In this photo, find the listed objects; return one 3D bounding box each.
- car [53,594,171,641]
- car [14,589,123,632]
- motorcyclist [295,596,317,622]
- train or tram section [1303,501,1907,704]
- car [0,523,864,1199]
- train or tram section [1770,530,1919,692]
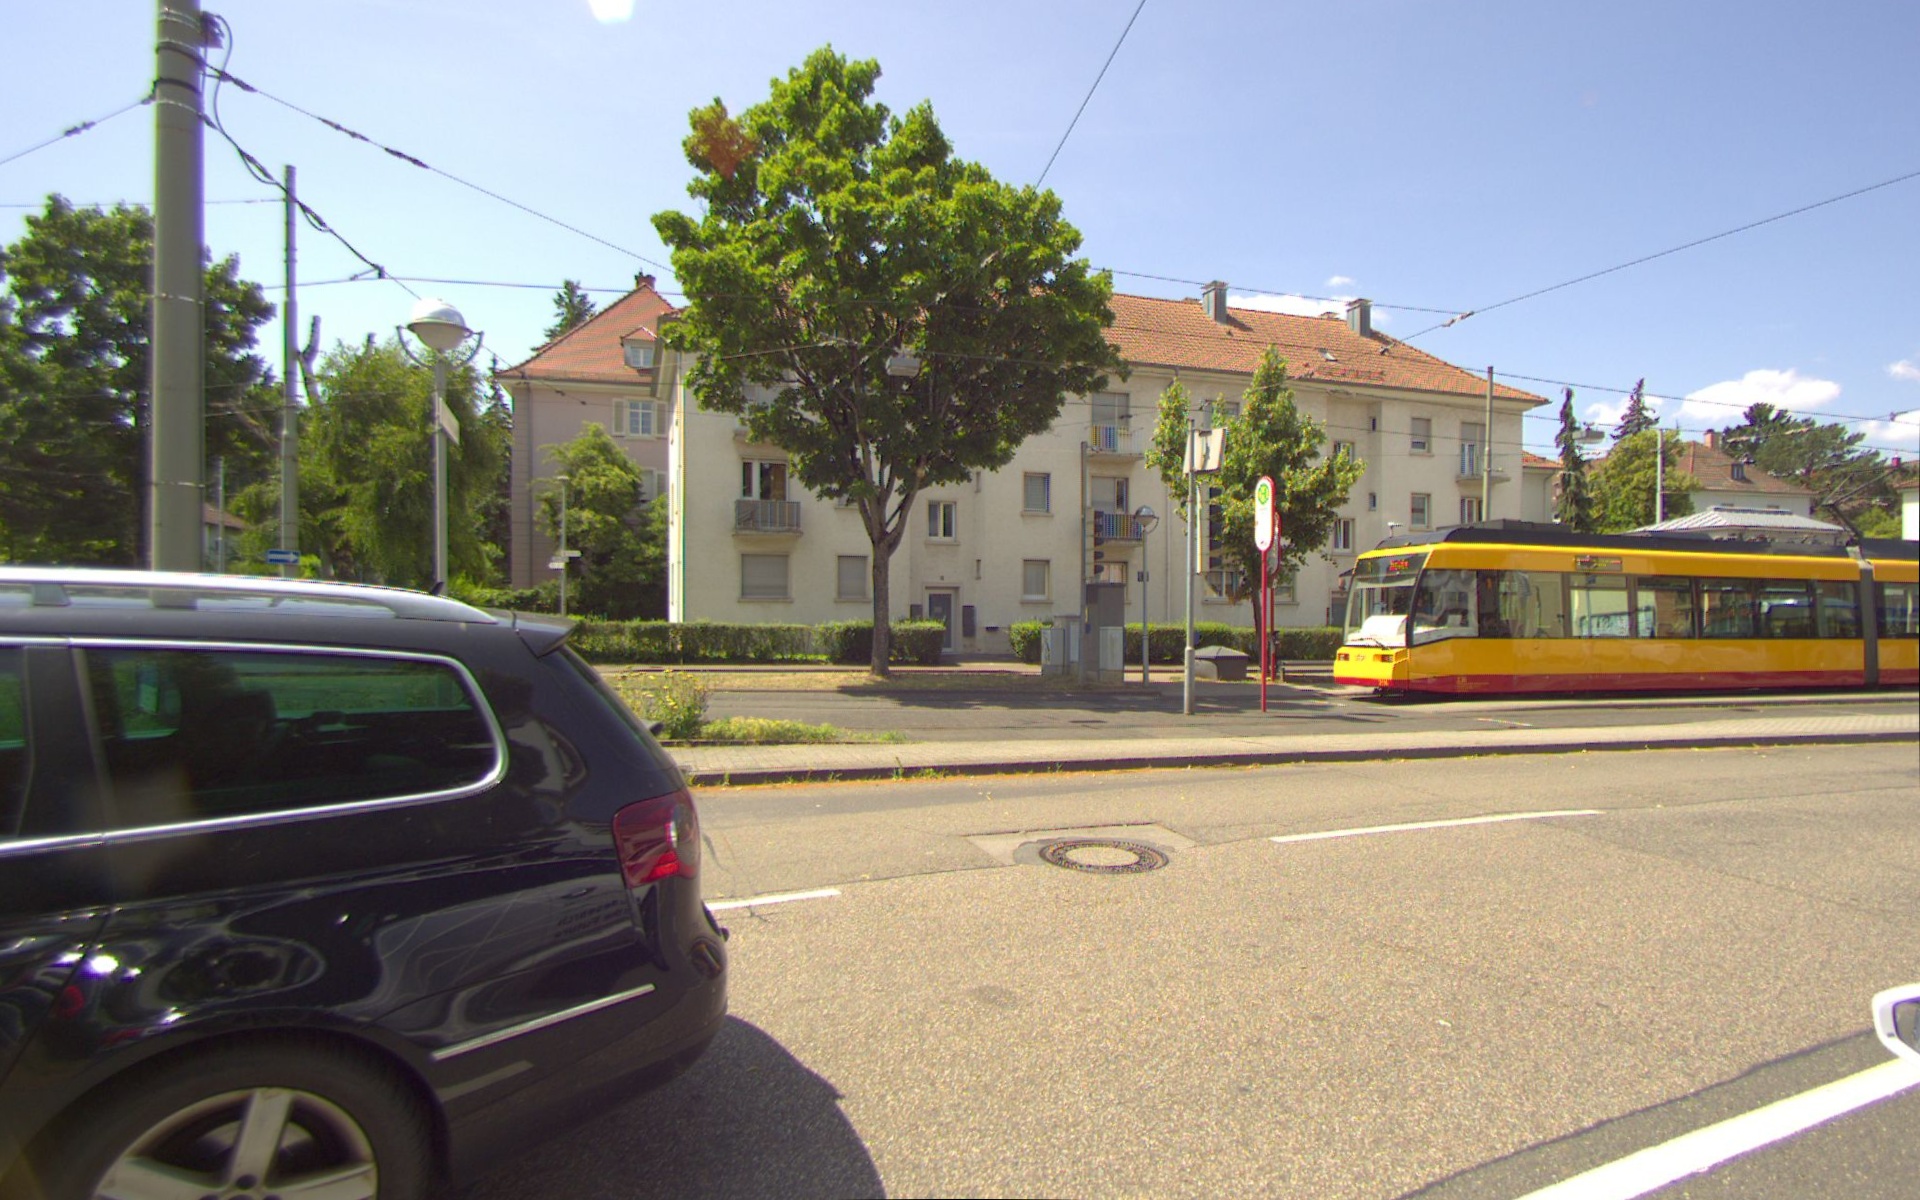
[{"bbox_3d":[-30.921,0.627,36.785,1.775,1.578,4.023,2,-1,-16],"label":"car"},{"bbox_3d":[-39.803,0.463,44.972,1.774,1.740,4.028,4,-1,-12],"label":"car"},{"bbox_3d":[-36.759,0.519,56.472,0.700,1.465,1.017,1,0,-10],"label":"motorcyclist"},{"bbox_3d":[14.045,0.163,21.445,13.959,3.616,2.807,1,-1,-19],"label":"train or tram section"},{"bbox_3d":[-2.650,0.633,2.187,4.457,1.539,1.985,1,-1,-29],"label":"car"},{"bbox_3d":[27.474,0.369,26.051,14.475,3.616,2.783,1,-1,-19],"label":"train or tram section"}]
